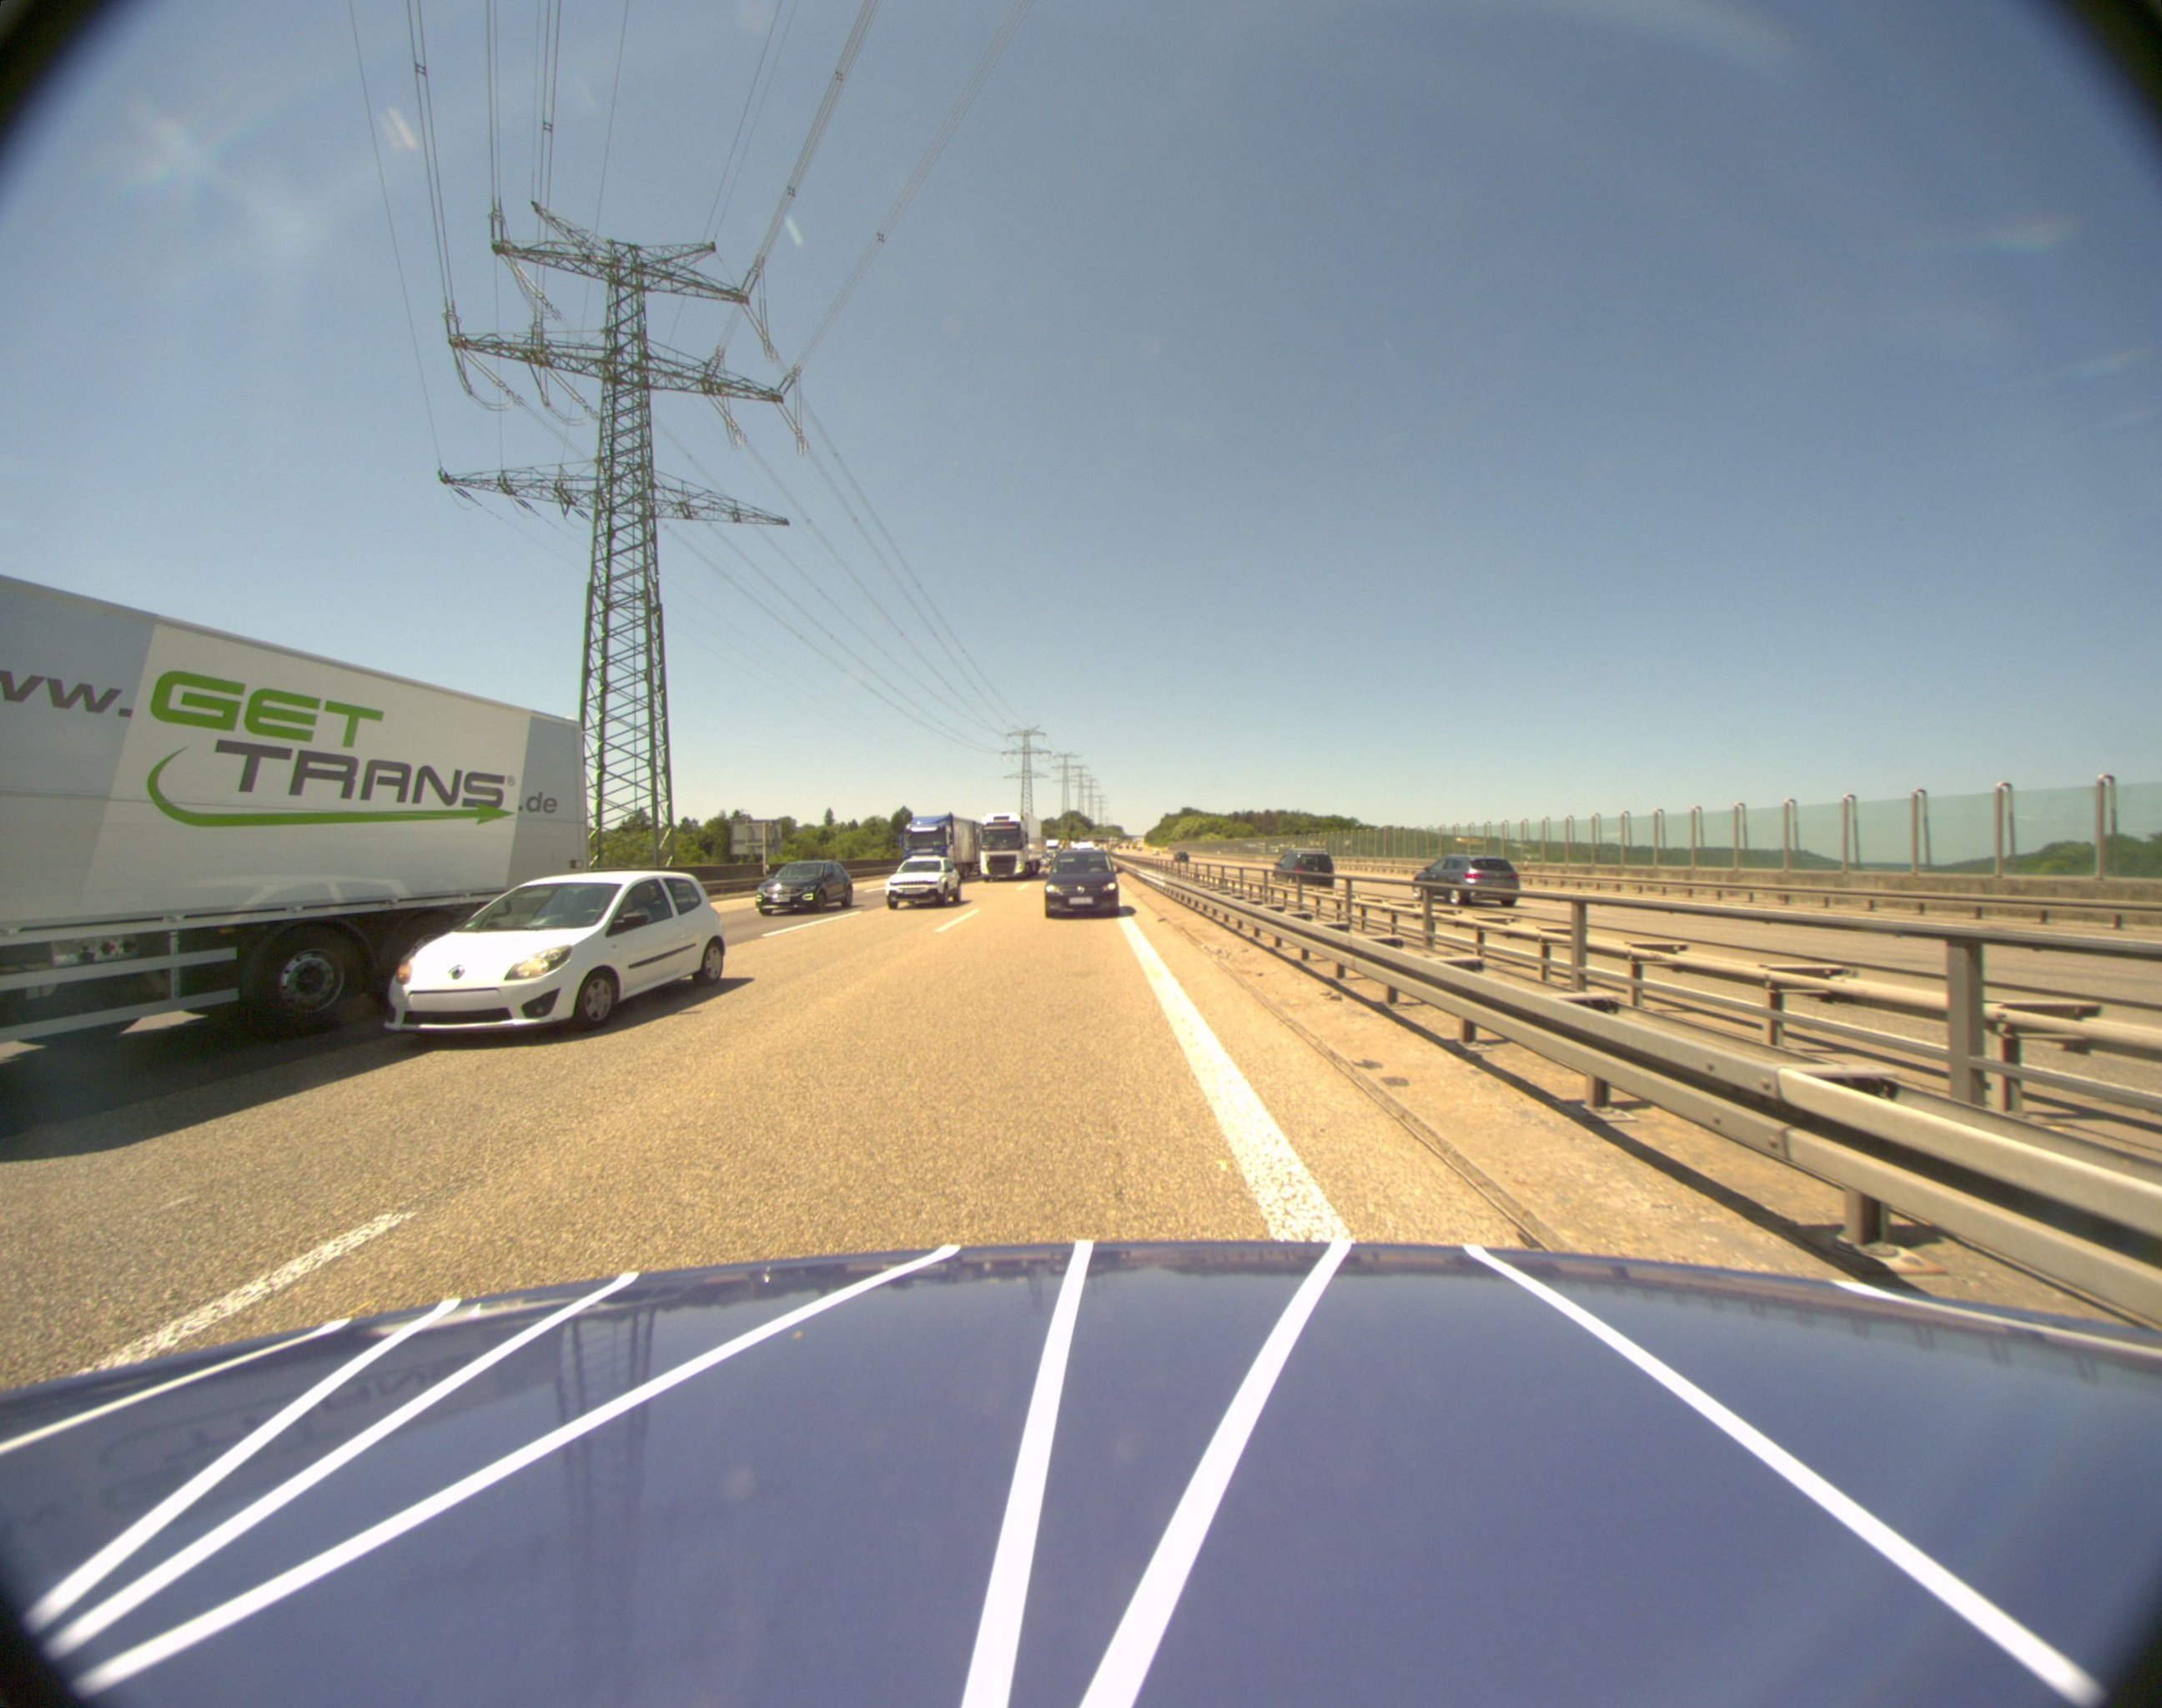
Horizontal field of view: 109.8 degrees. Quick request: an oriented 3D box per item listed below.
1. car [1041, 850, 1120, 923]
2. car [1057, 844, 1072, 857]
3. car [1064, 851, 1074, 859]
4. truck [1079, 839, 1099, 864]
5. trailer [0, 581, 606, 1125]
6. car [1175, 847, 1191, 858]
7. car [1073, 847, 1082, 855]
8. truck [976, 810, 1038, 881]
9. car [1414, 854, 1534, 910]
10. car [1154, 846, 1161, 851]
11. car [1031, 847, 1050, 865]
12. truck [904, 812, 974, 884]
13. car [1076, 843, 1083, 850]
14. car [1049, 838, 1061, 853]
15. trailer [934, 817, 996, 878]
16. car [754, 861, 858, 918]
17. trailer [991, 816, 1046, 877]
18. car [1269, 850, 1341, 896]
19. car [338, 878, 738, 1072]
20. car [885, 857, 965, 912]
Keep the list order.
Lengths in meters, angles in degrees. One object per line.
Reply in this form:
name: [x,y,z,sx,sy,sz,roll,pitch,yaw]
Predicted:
car: [-0.013,0.718,19.151,1.739,1.607,3.911,-2,0,0]
car: [-2.552,-0.582,117.770,1.998,2.002,3.999,-2,1,1]
car: [-2.345,0.173,149.998,1.701,1.599,3.639,-2,1,1]
truck: [0.950,-0.311,87.952,2.100,2.700,5.864,-2,1,1]
trailer: [-8.548,0.023,7.175,2.852,3.573,8.290,-2,0,-1]
car: [14.705,-0.256,109.808,1.784,1.560,4.387,1,1,2]
car: [-0.860,-0.732,189.374,1.890,2.002,3.999,-2,1,0]
truck: [-4.326,-0.536,45.794,2.914,3.870,6.739,-2,1,0]
car: [12.358,0.824,24.191,1.759,1.538,3.999,1,1,1]
car: [20.675,-1.403,204.701,1.608,1.386,3.676,1,1,1]
car: [-4.236,0.143,79.215,1.672,1.761,3.846,-2,1,1]
truck: [-8.470,-0.332,46.341,2.517,3.945,7.927,-2,0,1]
car: [-0.491,-2.089,210.968,1.782,2.002,3.999,-2,1,0]
car: [-5.786,-1.944,169.342,2.273,3.304,6.288,-2,1,0]
trailer: [-8.310,-0.495,55.758,2.543,3.971,10.884,-2,1,1]
car: [-8.292,1.011,23.291,1.709,1.497,3.888,-2,0,1]
trailer: [-4.256,-0.588,54.079,2.898,3.847,9.773,-2,1,1]
car: [9.217,0.760,31.623,1.759,1.710,4.101,-2,-1,1]
car: [-5.319,1.062,8.108,1.583,1.432,3.629,-2,0,1]
car: [-4.892,0.901,24.252,1.722,1.526,3.753,-2,0,0]
